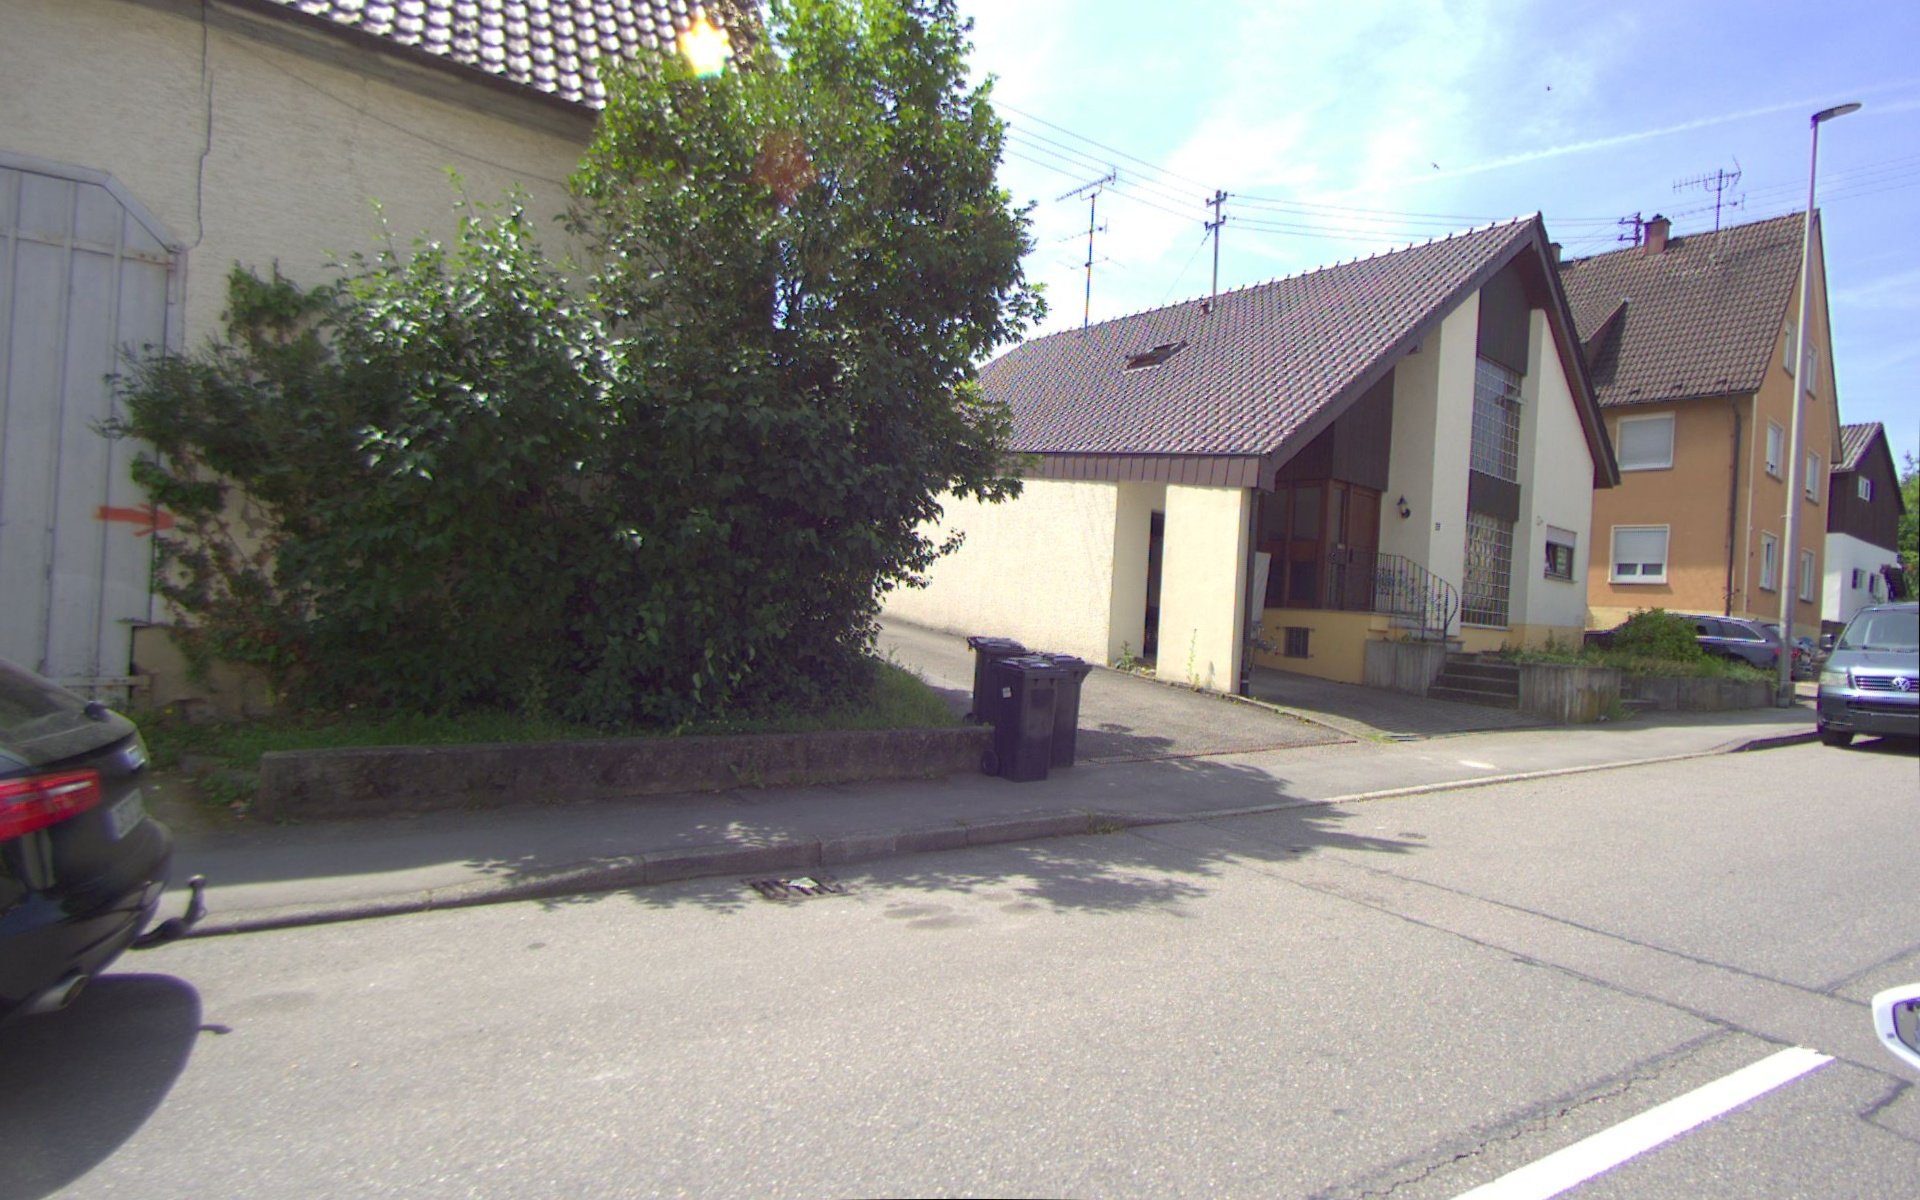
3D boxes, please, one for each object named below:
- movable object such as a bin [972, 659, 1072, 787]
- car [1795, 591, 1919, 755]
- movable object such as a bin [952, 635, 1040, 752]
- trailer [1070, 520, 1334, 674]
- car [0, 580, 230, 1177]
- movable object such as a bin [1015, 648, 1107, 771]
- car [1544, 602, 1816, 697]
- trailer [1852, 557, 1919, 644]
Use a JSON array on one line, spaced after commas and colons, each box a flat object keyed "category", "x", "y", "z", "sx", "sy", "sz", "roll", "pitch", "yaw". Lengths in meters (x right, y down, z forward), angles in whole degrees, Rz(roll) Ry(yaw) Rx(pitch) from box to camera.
[{"category": "movable object such as a bin", "x": 0.495, "y": 0.958, "z": 8.009, "sx": 0.580, "sy": 0.914, "sz": 0.497, "roll": 1, "pitch": 3, "yaw": -36}, {"category": "car", "x": 13.381, "y": 0.954, "z": 13.680, "sx": 4.936, "sy": 1.963, "sz": 1.879, "roll": 2, "pitch": -2, "yaw": -35}, {"category": "movable object such as a bin", "x": 0.324, "y": 0.839, "z": 9.165, "sx": 0.519, "sy": 0.961, "sz": 0.497, "roll": 2, "pitch": 7, "yaw": -36}, {"category": "trailer", "x": 3.930, "y": -0.127, "z": 16.884, "sx": 1.980, "sy": 2.040, "sz": 3.805, "roll": 2, "pitch": 6, "yaw": -35}, {"category": "car", "x": -4.621, "y": 0.663, "z": 2.195, "sx": 4.722, "sy": 1.493, "sz": 1.809, "roll": 1, "pitch": -1, "yaw": -32}, {"category": "movable object such as a bin", "x": 0.863, "y": 0.925, "z": 8.647, "sx": 0.522, "sy": 0.951, "sz": 0.470, "roll": 2, "pitch": 6, "yaw": -35}, {"category": "car", "x": 14.811, "y": 0.938, "z": 20.869, "sx": 1.806, "sy": 1.424, "sz": 4.194, "roll": 1, "pitch": 4, "yaw": -39}, {"category": "trailer", "x": 34.005, "y": 0.078, "z": 36.183, "sx": 6.120, "sy": 2.886, "sz": 1.699, "roll": 2, "pitch": 0, "yaw": -39}]
